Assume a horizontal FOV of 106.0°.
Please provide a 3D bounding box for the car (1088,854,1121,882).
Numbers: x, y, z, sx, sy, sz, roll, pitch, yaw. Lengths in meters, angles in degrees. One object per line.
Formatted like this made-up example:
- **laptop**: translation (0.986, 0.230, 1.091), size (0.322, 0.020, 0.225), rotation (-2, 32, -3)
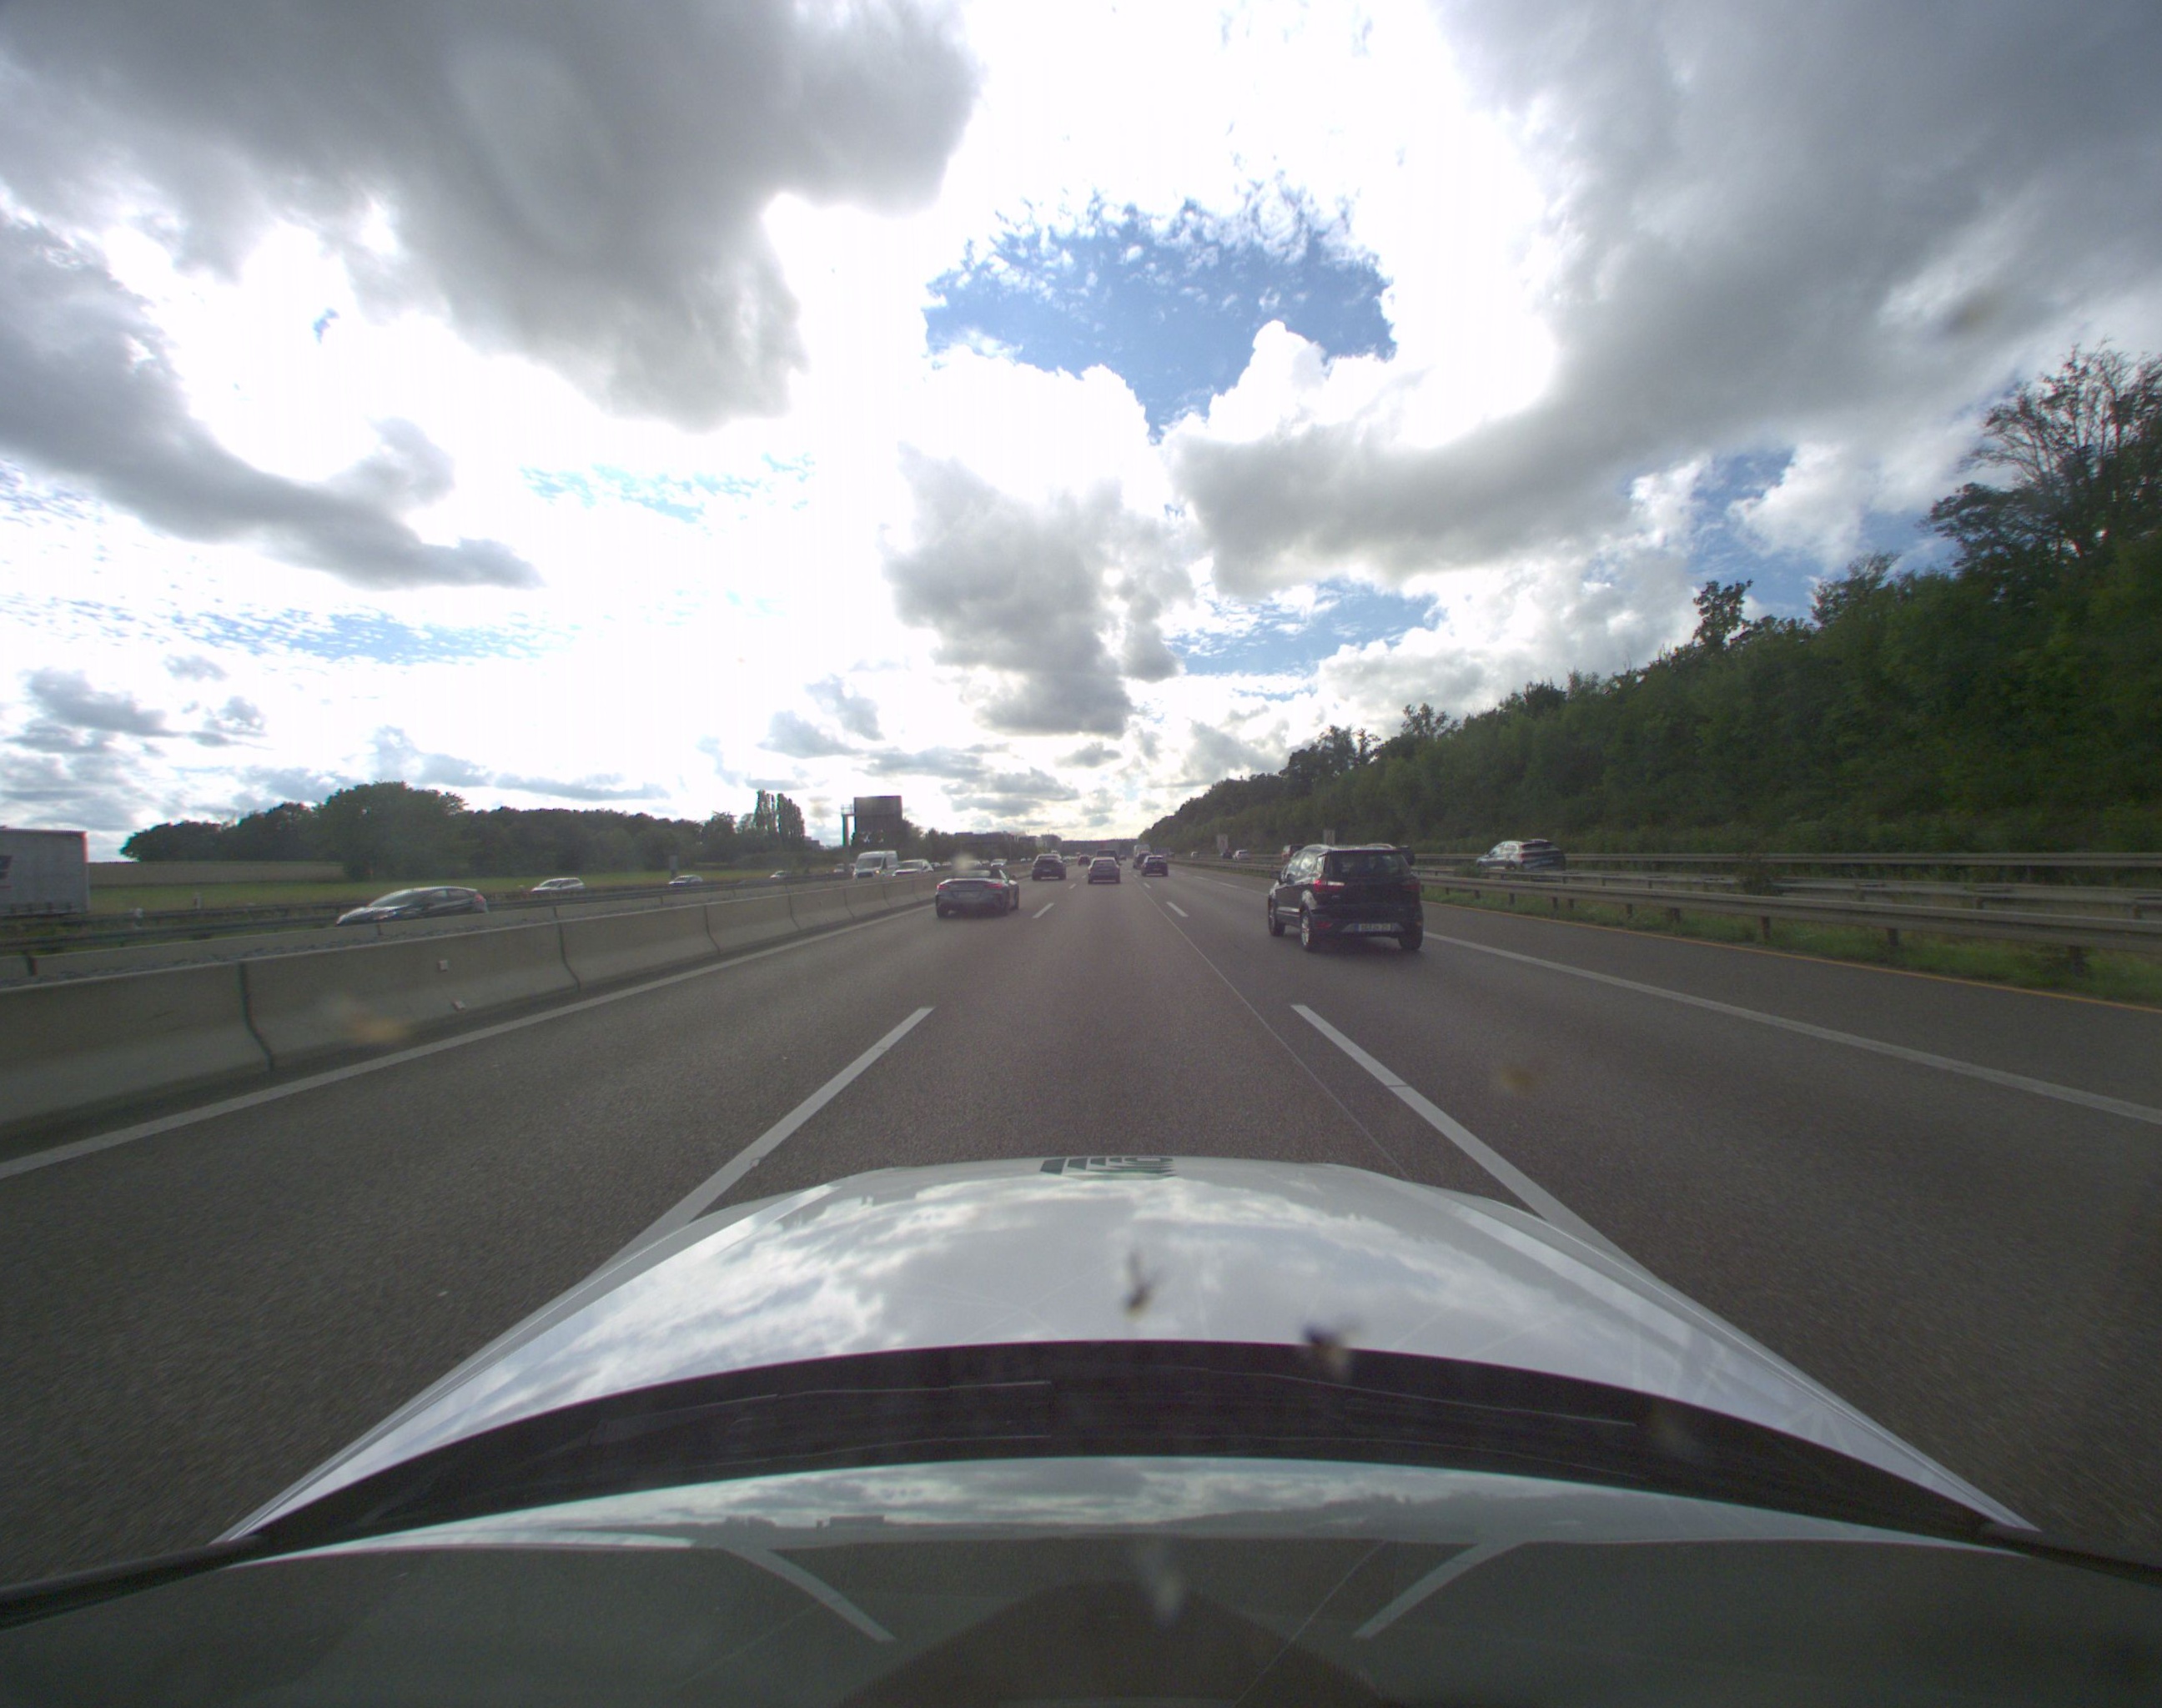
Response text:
- **car**: translation (1.343, 0.753, 45.446), size (1.714, 1.479, 4.393), rotation (-1, 0, 2)

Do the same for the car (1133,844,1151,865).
- **car**: translation (6.997, 0.042, 93.354), size (1.866, 2.357, 4.284), rotation (-1, 0, 2)

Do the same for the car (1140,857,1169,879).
- **car**: translation (5.217, 0.970, 58.194), size (1.825, 1.521, 4.227), rotation (-1, 0, 2)

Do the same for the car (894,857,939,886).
- **car**: translation (-10.373, 1.040, 51.703), size (1.756, 1.731, 4.705), rotation (0, 0, 2)

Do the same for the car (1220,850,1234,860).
- **car**: translation (25.616, 0.212, 142.840), size (1.745, 1.695, 4.192), rotation (-1, 0, 2)

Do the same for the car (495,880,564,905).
- **car**: translation (-38.849, 2.656, 57.538), size (1.722, 1.533, 4.453), rotation (-1, 0, 1)

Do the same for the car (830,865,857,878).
- **car**: translation (-33.264, 2.388, 114.377), size (1.986, 1.700, 5.635), rotation (-1, 0, 1)

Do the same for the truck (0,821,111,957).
- **truck**: translation (-40.069, 1.262, 25.078), size (3.062, 4.802, 14.134), rotation (-1, 0, 2)

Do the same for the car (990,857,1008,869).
- **car**: translation (-11.159, 1.195, 110.621), size (1.756, 1.532, 4.720), rotation (-1, 0, 2)

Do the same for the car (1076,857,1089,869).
- **car**: translation (0.282, 1.341, 123.936), size (1.866, 1.698, 4.074), rotation (-1, 0, 2)

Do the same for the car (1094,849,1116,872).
- **car**: translation (1.925, 0.506, 65.207), size (1.714, 1.724, 4.393), rotation (-1, 0, 2)

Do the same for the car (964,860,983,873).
- **car**: translation (-12.768, 1.468, 97.020), size (1.631, 1.403, 4.492), rotation (-1, 0, 1)

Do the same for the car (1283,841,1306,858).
- **car**: translation (23.878, -0.475, 91.035), size (1.590, 1.804, 3.825), rotation (-1, 0, 0)

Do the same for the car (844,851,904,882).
- **car**: translation (-14.192, 0.813, 56.182), size (2.346, 1.967, 5.837), rotation (-1, 0, 2)

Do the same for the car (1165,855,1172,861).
- **car**: translation (25.339, 1.144, 236.101), size (1.722, 1.533, 4.454), rotation (-2, 0, 2)

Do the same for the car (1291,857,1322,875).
- **car**: translation (19.766, 1.039, 71.500), size (1.590, 1.546, 4.190), rotation (-1, 0, 0)

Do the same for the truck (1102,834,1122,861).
- **truck**: translation (5.326, -1.019, 138.481), size (3.250, 4.375, 11.031), rotation (0, 0, 2)

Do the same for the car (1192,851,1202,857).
- **car**: translation (28.026, -0.042, 197.226), size (1.746, 1.517, 4.191), rotation (-1, 0, 1)

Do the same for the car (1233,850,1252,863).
- **car**: translation (21.328, 0.356, 107.519), size (1.745, 1.695, 4.192), rotation (-1, 0, 2)

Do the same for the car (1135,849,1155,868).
- **car**: translation (6.762, 0.456, 86.369), size (1.906, 1.919, 4.032), rotation (-1, 0, 2)

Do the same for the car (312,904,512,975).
- **car**: translation (-19.119, 2.379, 23.621), size (1.757, 1.532, 4.719), rotation (-1, 0, 2)

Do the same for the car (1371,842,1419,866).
- **car**: translation (22.470, 0.012, 58.430), size (1.723, 1.546, 4.306), rotation (-3, 0, 0)

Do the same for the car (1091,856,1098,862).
- **car**: translation (3.999, 1.468, 244.258), size (1.986, 1.816, 4.569), rotation (-1, 0, 2)

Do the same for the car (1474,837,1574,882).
- **car**: translation (18.259, 0.214, 33.786), size (1.839, 1.650, 4.308), rotation (-3, 0, 2)

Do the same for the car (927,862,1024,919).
- **car**: translation (-2.797, 0.933, 22.664), size (1.866, 1.302, 4.944), rotation (-1, 0, 2)

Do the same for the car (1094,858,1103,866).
- **car**: translation (3.620, 1.636, 169.799), size (1.691, 1.611, 4.115), rotation (-1, 0, 1)

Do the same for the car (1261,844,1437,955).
- **car**: translation (4.310, 0.661, 13.791), size (1.691, 1.564, 4.115), rotation (-1, 0, 1)

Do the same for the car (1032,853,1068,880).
- **car**: translation (-1.969, 0.771, 53.302), size (1.905, 1.636, 5.502), rotation (-1, 0, 2)

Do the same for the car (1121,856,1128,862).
- **car**: translation (11.304, 1.327, 212.906), size (1.745, 1.695, 4.192), rotation (-1, 0, 2)
